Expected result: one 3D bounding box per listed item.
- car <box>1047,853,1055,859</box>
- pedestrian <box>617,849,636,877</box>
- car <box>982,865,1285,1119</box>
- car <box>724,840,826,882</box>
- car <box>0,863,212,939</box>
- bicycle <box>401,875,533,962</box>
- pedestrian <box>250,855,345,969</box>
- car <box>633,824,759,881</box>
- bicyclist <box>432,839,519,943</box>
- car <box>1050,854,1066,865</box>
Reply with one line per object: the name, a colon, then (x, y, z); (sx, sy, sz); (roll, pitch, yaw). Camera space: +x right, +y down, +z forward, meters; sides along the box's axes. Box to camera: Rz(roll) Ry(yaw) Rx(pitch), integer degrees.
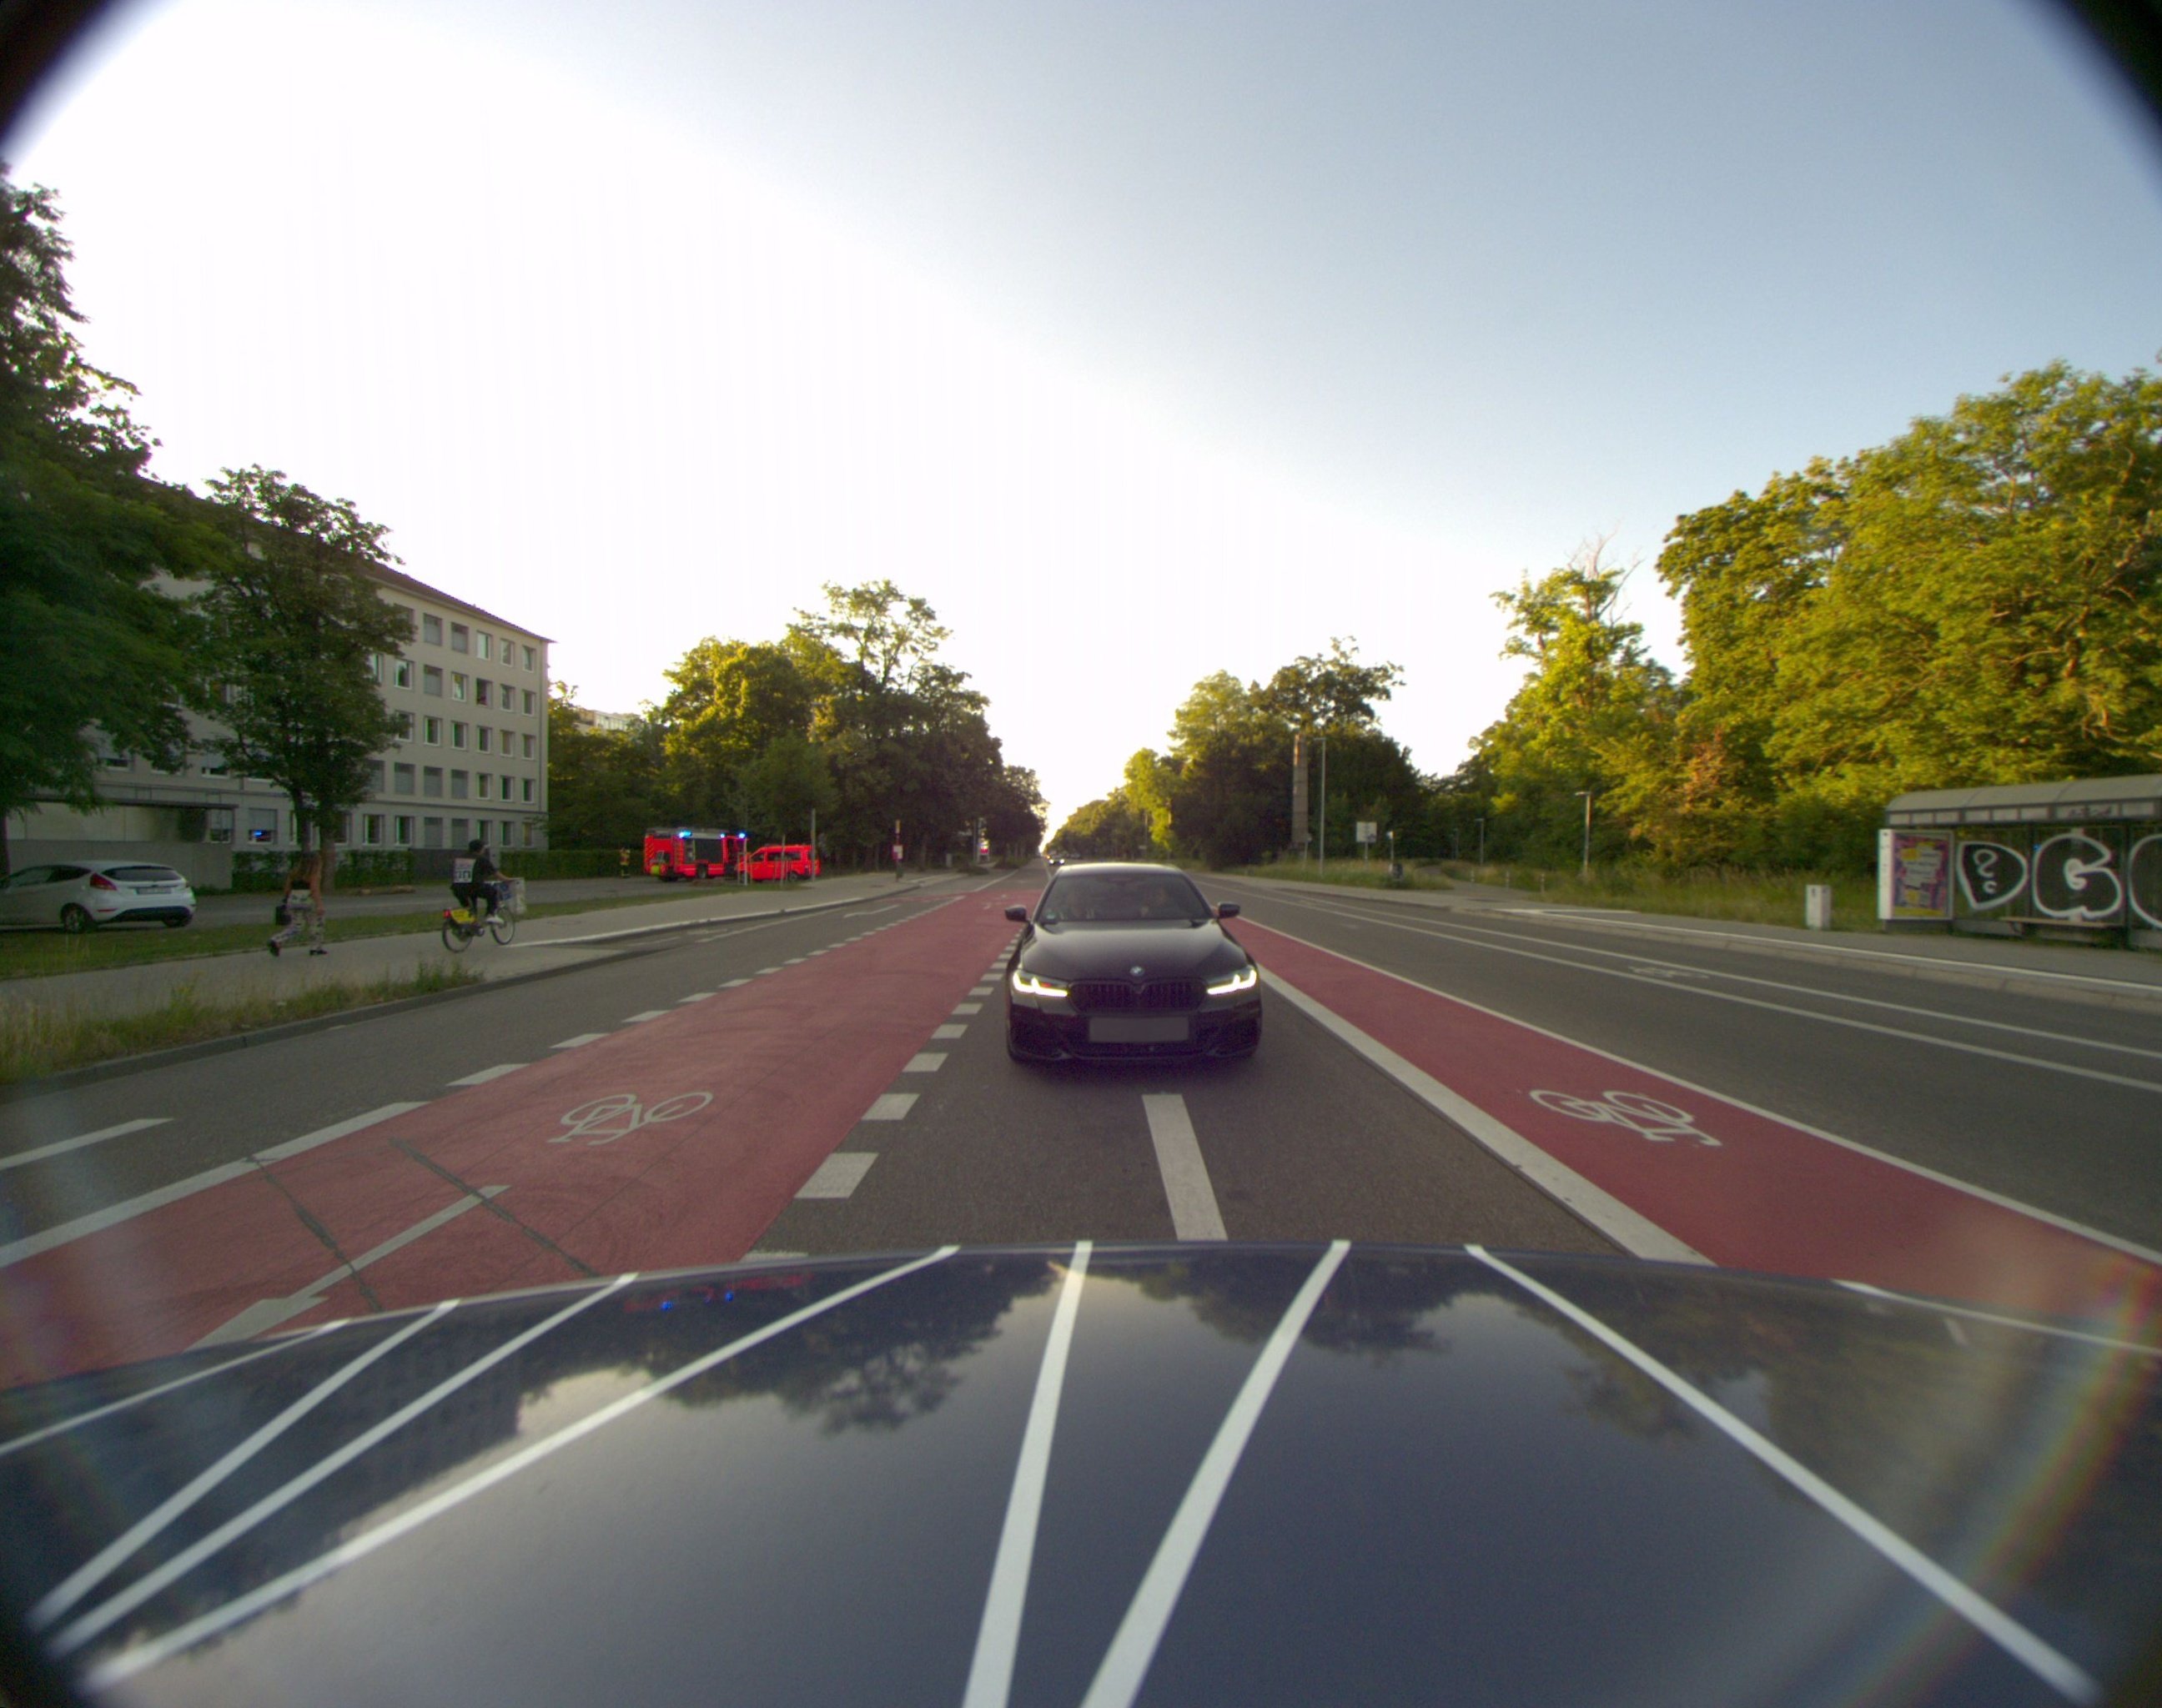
car: (-7.887, 0.414, 199.994); (1.850, 1.473, 4.702); (-2, 0, -2)
pedestrian: (-29.572, 0.584, 49.451); (0.845, 1.831, 0.683); (0, 0, 5)
car: (0.324, 0.894, 7.306); (1.818, 1.391, 5.213); (-2, 0, 0)
car: (-17.940, 0.400, 44.706); (5.164, 2.379, 2.000); (0, 1, 3)
car: (-20.818, 0.927, 15.877); (3.662, 1.451, 1.665); (0, 1, 5)
bicycle: (-9.839, 0.992, 12.282); (0.571, 1.233, 1.899); (0, 1, 1)
pedestrian: (-11.468, 0.828, 11.143); (0.682, 1.613, 0.688); (0, 0, 1)
car: (-23.620, -0.129, 47.235); (2.770, 3.225, 8.301); (0, 0, 7)
bicyclist: (-9.838, 0.574, 12.381); (0.571, 1.623, 1.038); (0, 1, 1)
car: (-3.150, 0.755, 102.525); (1.851, 1.346, 4.701); (-2, 0, -4)
